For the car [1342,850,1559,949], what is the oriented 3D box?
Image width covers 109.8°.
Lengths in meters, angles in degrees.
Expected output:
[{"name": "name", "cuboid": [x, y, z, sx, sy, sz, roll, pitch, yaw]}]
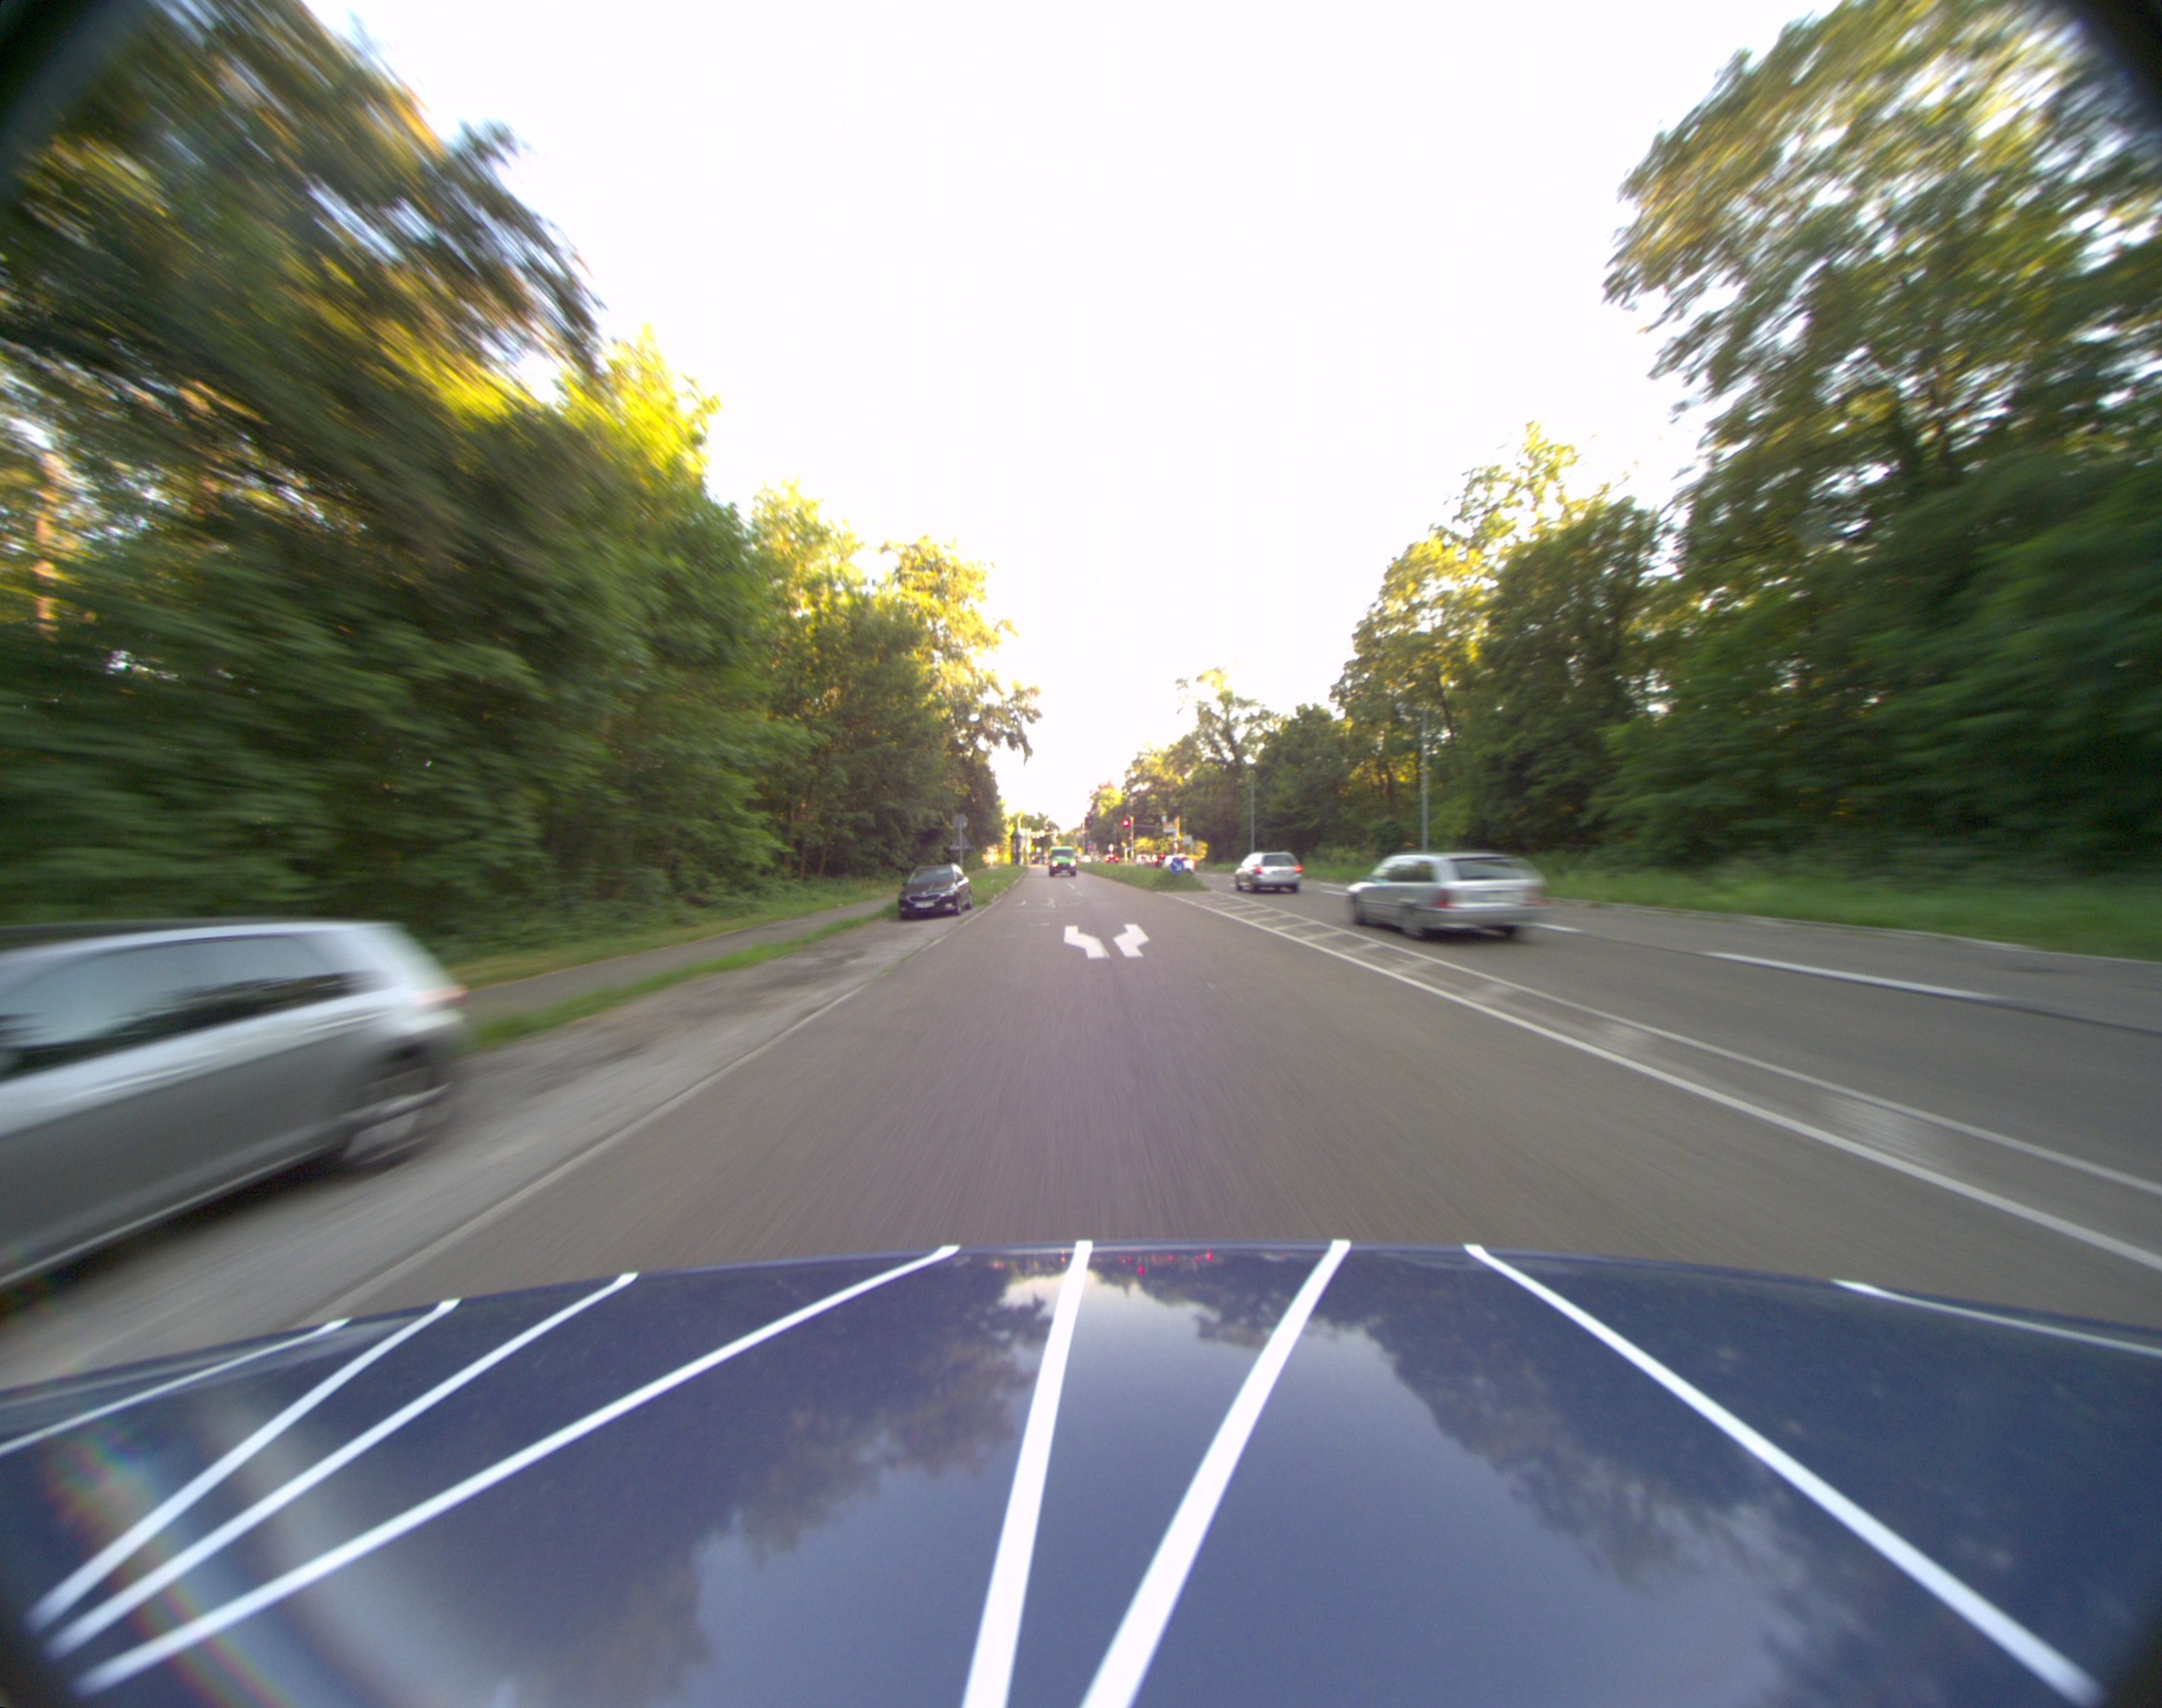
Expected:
[{"name": "car", "cuboid": [6.099, 0.660, 13.179, 1.724, 1.389, 4.375, -2, 0, 2]}]

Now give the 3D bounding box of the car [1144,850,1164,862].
[{"name": "car", "cuboid": [9.202, 0.218, 95.772, 1.828, 1.471, 4.231, 0, 0, -3]}]

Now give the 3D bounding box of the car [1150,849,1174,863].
[{"name": "car", "cuboid": [9.394, 0.204, 88.390, 1.999, 1.618, 4.649, 0, 0, -3]}]

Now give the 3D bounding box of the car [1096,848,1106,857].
[{"name": "car", "cuboid": [4.384, -0.304, 165.272, 1.862, 1.835, 4.119, -1, 0, -4]}]

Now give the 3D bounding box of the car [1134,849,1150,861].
[{"name": "car", "cuboid": [8.282, 0.082, 103.301, 1.826, 1.604, 4.640, 1, 0, 0]}]

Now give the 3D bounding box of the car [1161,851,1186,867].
[{"name": "car", "cuboid": [9.601, 0.492, 79.042, 1.999, 1.450, 3.808, -1, 2, -2]}]

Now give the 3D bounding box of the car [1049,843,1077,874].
[{"name": "car", "cuboid": [-1.511, 0.357, 61.612, 2.044, 2.264, 5.940, -2, 0, -2]}]

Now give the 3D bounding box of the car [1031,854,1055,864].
[{"name": "car", "cuboid": [-6.354, 0.831, 126.226, 3.998, 1.527, 1.661, -1, 0, -4]}]

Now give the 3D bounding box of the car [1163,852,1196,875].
[{"name": "car", "cuboid": [7.050, 0.642, 54.736, 1.840, 1.499, 3.936, -1, 2, 0]}]

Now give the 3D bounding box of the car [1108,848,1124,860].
[{"name": "car", "cuboid": [4.857, 0.019, 105.647, 1.819, 1.618, 4.449, 0, 0, -3]}]

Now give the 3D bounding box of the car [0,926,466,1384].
[{"name": "car", "cuboid": [-4.658, 1.179, 2.683, 1.703, 1.397, 4.074, -1, 1, -2]}]

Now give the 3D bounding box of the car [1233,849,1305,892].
[{"name": "car", "cuboid": [6.908, 0.564, 28.284, 1.720, 1.437, 4.173, -1, 0, 1]}]

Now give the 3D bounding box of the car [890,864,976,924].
[{"name": "car", "cuboid": [-4.223, 1.092, 22.310, 1.668, 1.397, 3.941, -4, 1, 0]}]
